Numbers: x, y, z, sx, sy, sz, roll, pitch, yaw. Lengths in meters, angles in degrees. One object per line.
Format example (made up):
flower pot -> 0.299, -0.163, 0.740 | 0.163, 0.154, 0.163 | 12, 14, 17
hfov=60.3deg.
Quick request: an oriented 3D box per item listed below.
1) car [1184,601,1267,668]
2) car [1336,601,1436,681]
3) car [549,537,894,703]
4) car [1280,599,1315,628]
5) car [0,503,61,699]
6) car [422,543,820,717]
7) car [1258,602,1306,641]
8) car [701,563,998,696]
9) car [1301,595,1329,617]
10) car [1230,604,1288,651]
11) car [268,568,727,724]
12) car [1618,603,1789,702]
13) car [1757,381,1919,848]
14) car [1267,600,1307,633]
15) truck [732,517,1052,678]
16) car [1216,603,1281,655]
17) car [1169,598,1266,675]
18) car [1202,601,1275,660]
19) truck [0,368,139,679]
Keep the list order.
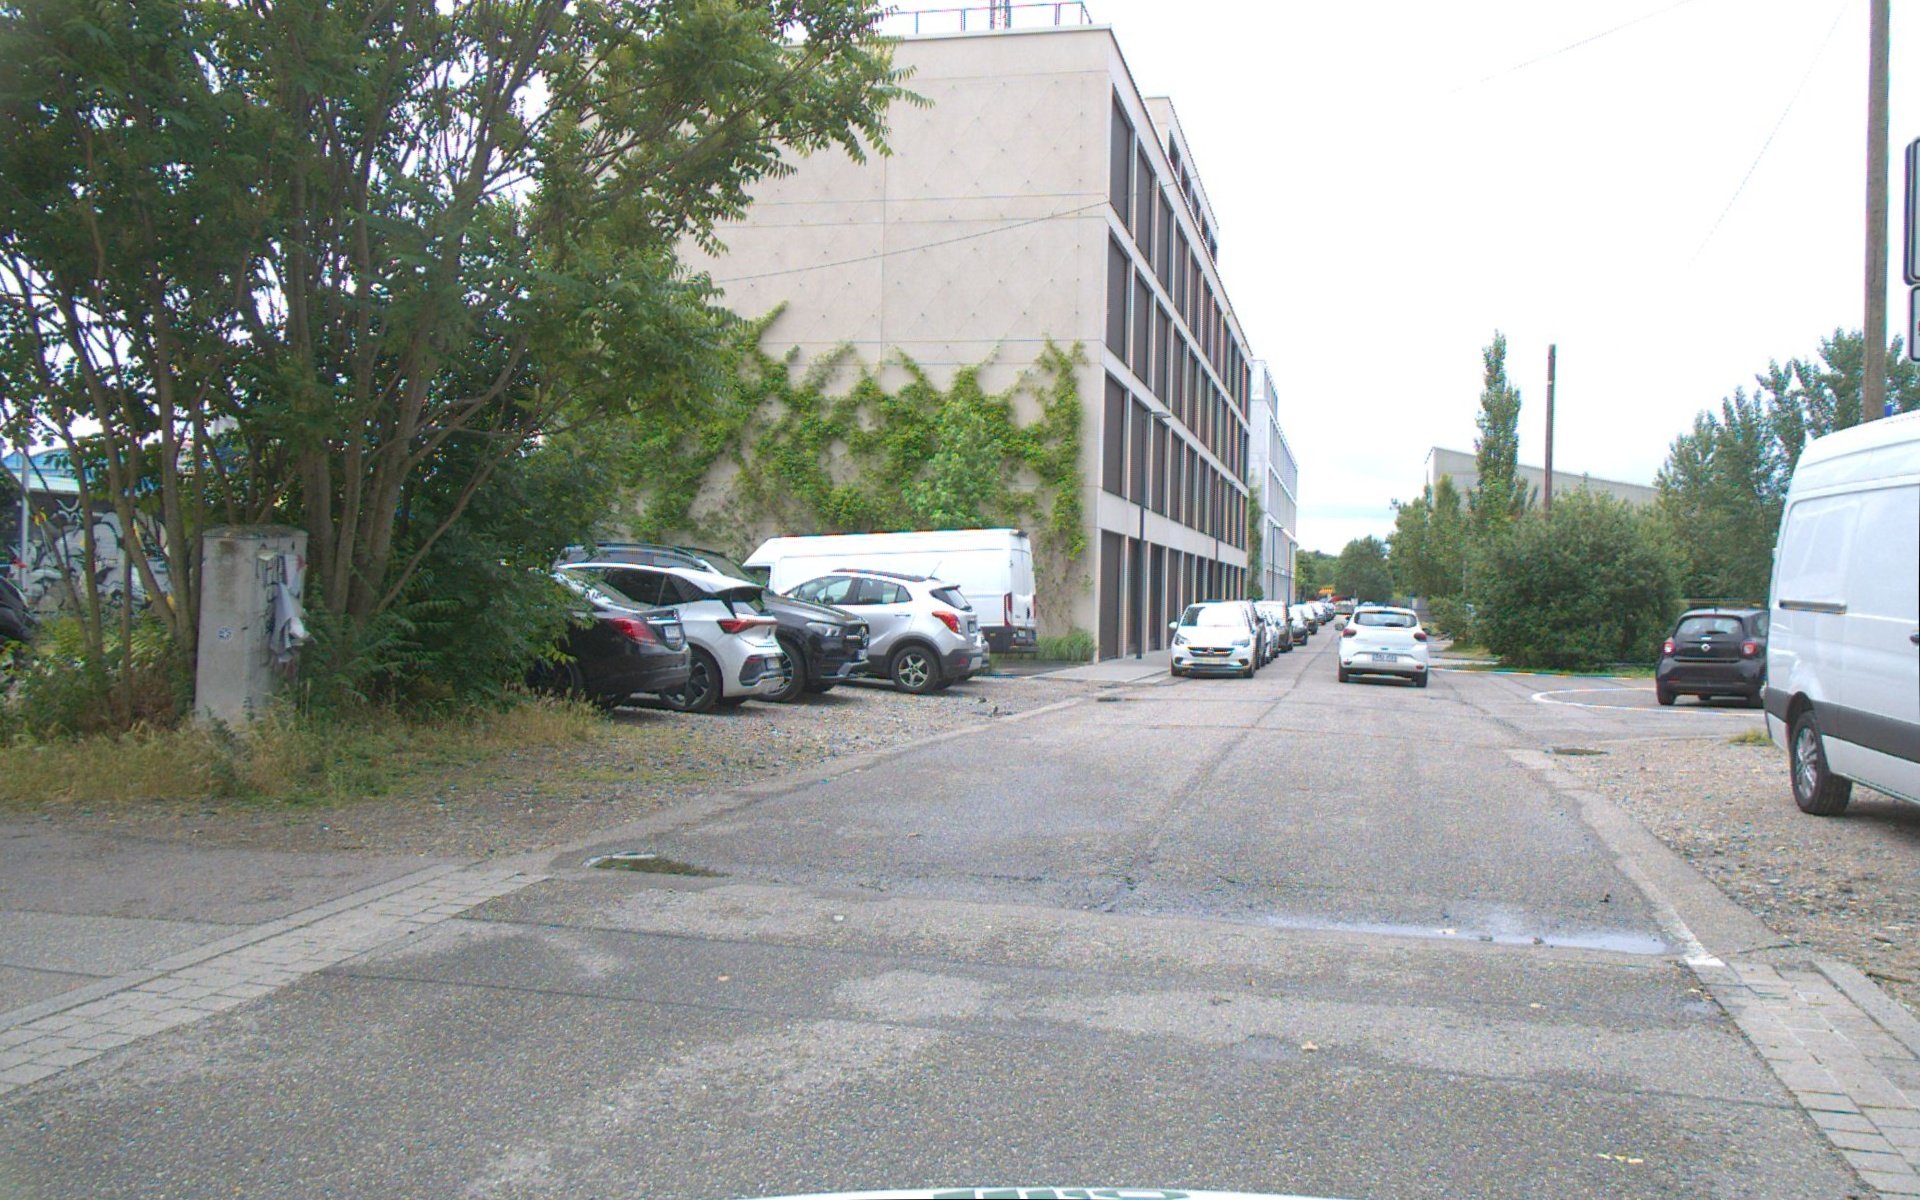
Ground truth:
car -> 6.441, 0.783, 39.866 | 1.845, 1.478, 4.004 | 1, 0, 11
car -> 8.673, 0.790, 33.897 | 1.845, 1.478, 4.003 | 1, 0, 13
car -> -2.993, 0.214, 21.124 | 3.902, 1.912, 1.893 | 2, 1, 12
car -> 18.425, 0.729, 90.356 | 1.845, 1.478, 4.004 | 1, 0, 11
car -> -11.300, 0.014, 16.063 | 1.951, 2.048, 4.593 | 2, 2, 12
car -> -3.755, 0.310, 18.655 | 3.902, 1.673, 1.893 | 3, 0, 12
car -> 13.130, 0.847, 67.470 | 1.845, 1.478, 4.004 | 1, 0, 11
car -> -1.569, 0.399, 24.151 | 3.902, 1.673, 1.893 | 3, 0, 12
car -> 24.927, 0.421, 116.193 | 1.845, 1.478, 4.004 | 1, 0, 11
car -> 10.236, 0.913, 56.520 | 1.845, 1.478, 4.004 | 1, 0, 11
car -> -4.497, 0.440, 16.356 | 3.902, 1.373, 1.893 | 1, -2, 12
car -> 12.401, 0.814, 27.847 | 1.845, 1.478, 4.003 | 1, 0, 13
car -> 6.440, 0.086, 9.425 | 2.048, 2.600, 6.048 | 1, 0, 12
car -> 15.742, 0.766, 79.700 | 1.845, 1.478, 4.004 | 1, 0, 11
truck -> -1.298, -0.085, 31.850 | 5.715, 2.775, 2.056 | 2, 0, 17
car -> 8.829, 0.856, 50.459 | 1.845, 1.478, 4.004 | 1, 0, 11
car -> 5.457, 0.719, 34.731 | 1.845, 1.478, 4.004 | 1, 0, 11
car -> 7.614, 0.793, 44.971 | 1.845, 1.478, 4.004 | 1, 0, 11
truck -> -13.632, -0.964, 19.382 | 2.536, 3.889, 8.225 | 1, 0, 13
